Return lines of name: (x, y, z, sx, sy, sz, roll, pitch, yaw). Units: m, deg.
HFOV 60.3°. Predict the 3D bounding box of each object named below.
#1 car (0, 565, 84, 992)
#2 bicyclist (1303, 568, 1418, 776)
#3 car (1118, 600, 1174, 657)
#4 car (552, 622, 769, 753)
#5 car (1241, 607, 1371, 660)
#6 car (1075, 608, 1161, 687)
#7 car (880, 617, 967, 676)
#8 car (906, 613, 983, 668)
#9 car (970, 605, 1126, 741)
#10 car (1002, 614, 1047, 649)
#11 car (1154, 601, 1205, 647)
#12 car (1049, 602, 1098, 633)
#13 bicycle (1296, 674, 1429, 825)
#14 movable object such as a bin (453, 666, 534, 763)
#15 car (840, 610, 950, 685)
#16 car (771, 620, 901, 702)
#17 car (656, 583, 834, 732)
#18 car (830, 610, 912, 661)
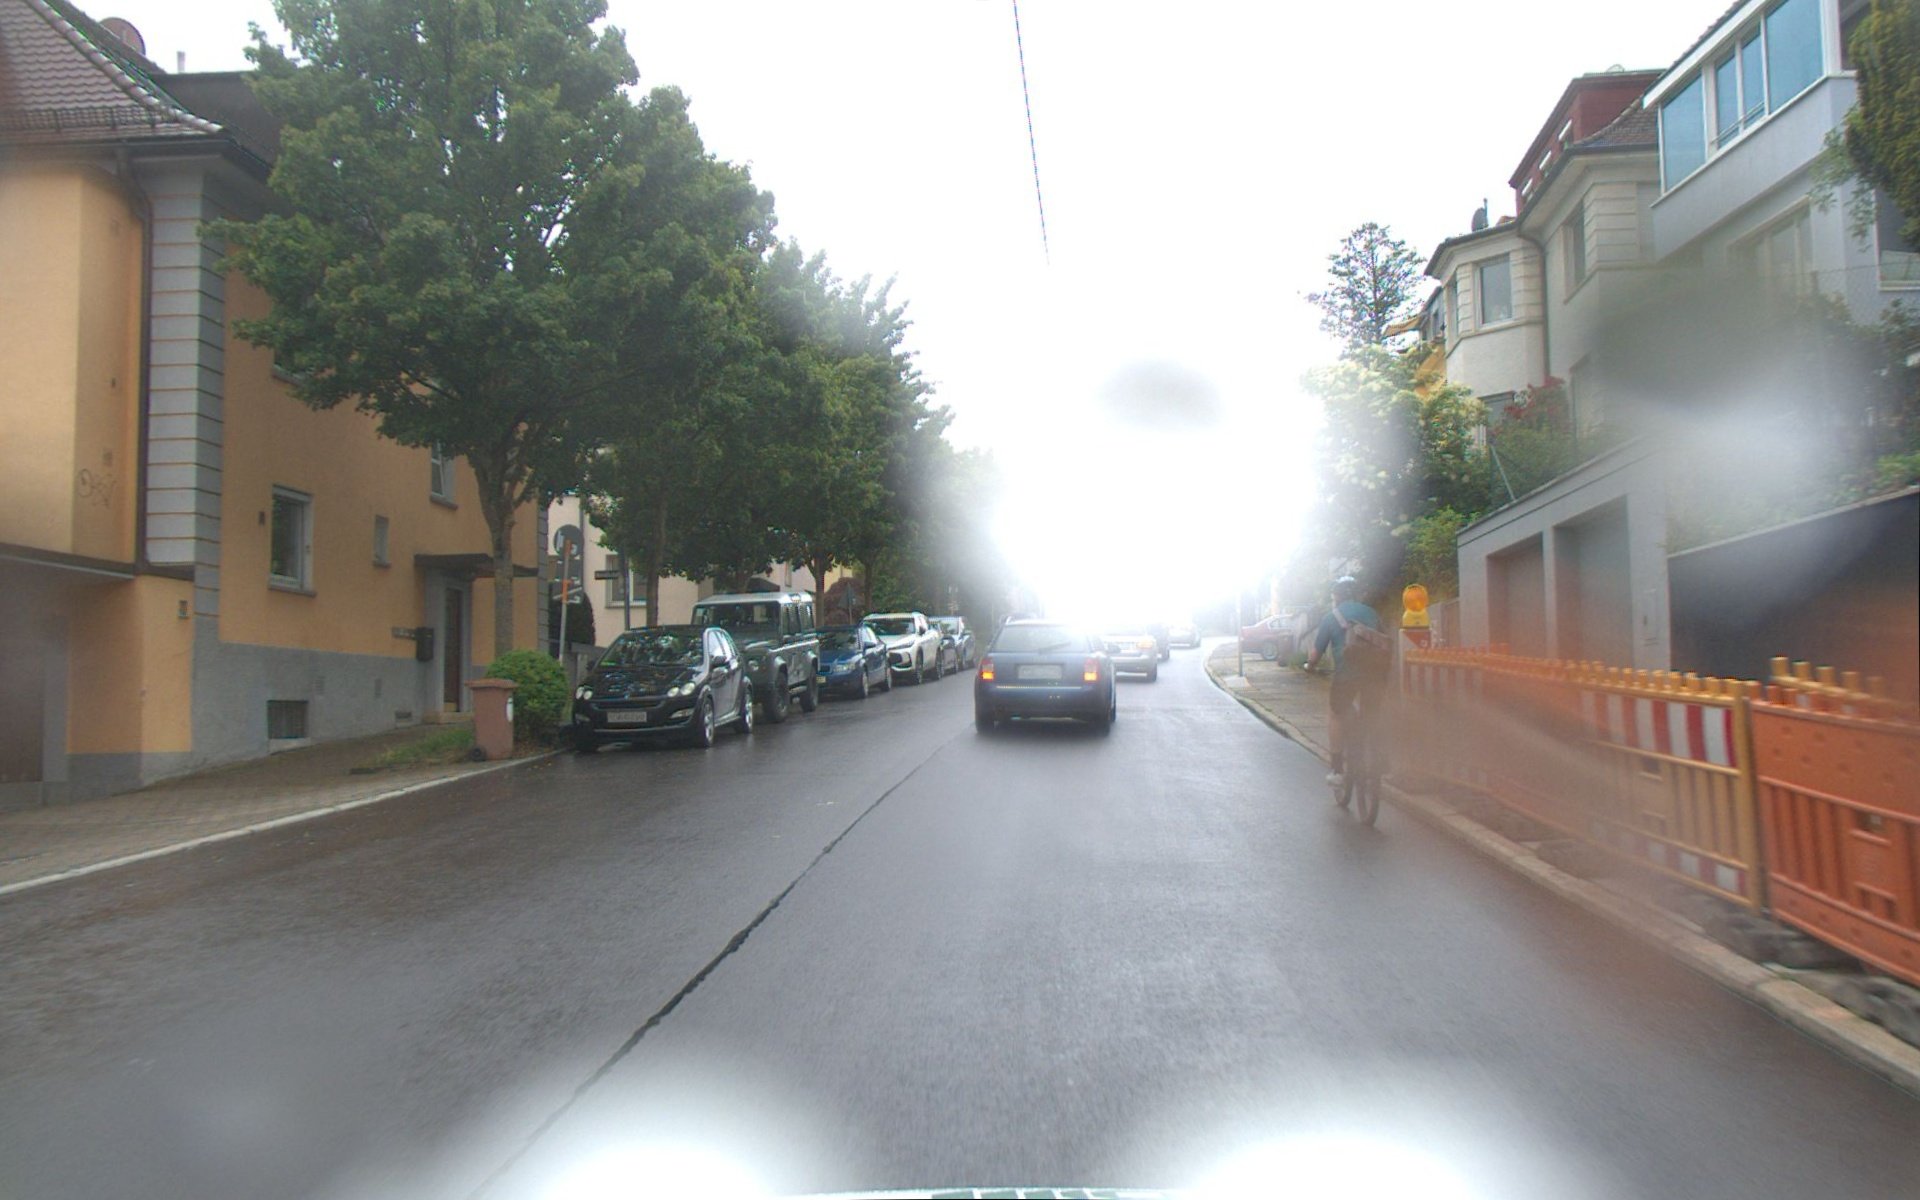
car: (-4.743, 0.745, 4.966, 1.731, 1.663, 4.111, -4, -1, 4)
bicyclist: (2.986, 0.525, 12.400, 0.710, 1.498, 0.886, 0, -1, 5)
car: (6.518, 0.962, 57.795, 1.696, 1.799, 4.239, 2, 1, 9)
car: (-3.759, 1.058, 21.523, 1.731, 1.461, 4.349, -2, -1, 4)
car: (10.905, 1.057, 52.228, 3.902, 1.492, 1.741, -2, 0, 12)
car: (3.872, 1.102, 40.365, 1.933, 1.663, 4.238, 2, 1, 6)
car: (-0.955, 1.270, 45.353, 1.730, 1.499, 4.010, -2, -1, 8)
car: (-0.442, 1.224, 50.534, 1.730, 1.566, 4.010, -2, -1, 8)
car: (1.249, 0.877, 21.825, 1.696, 1.492, 4.004, 2, 1, 8)
car: (2.747, 1.305, 69.800, 1.443, 1.318, 3.223, 2, 1, 10)
car: (9.533, 1.021, 71.634, 1.696, 1.799, 4.239, 2, 1, 13)
car: (6.099, 0.929, 88.489, 1.697, 1.492, 4.003, 2, 1, 17)
bicycle: (2.982, 1.081, 12.393, 0.714, 0.981, 1.671, 0, -1, 5)
movable object such as a bin: (-5.411, 1.316, 19.227, 0.669, 1.028, 0.708, -5, -1, -1)
car: (-1.492, 1.125, 39.959, 1.730, 1.655, 4.693, -2, -1, 9)
car: (-2.450, 1.194, 33.897, 1.730, 1.411, 4.637, -2, 0, 7)
car: (-3.362, 0.841, 26.758, 1.754, 2.085, 4.784, -4, 0, 5)
car: (-3.850, 1.540, 71.840, 3.143, 1.770, 1.481, -7, 0, 9)
